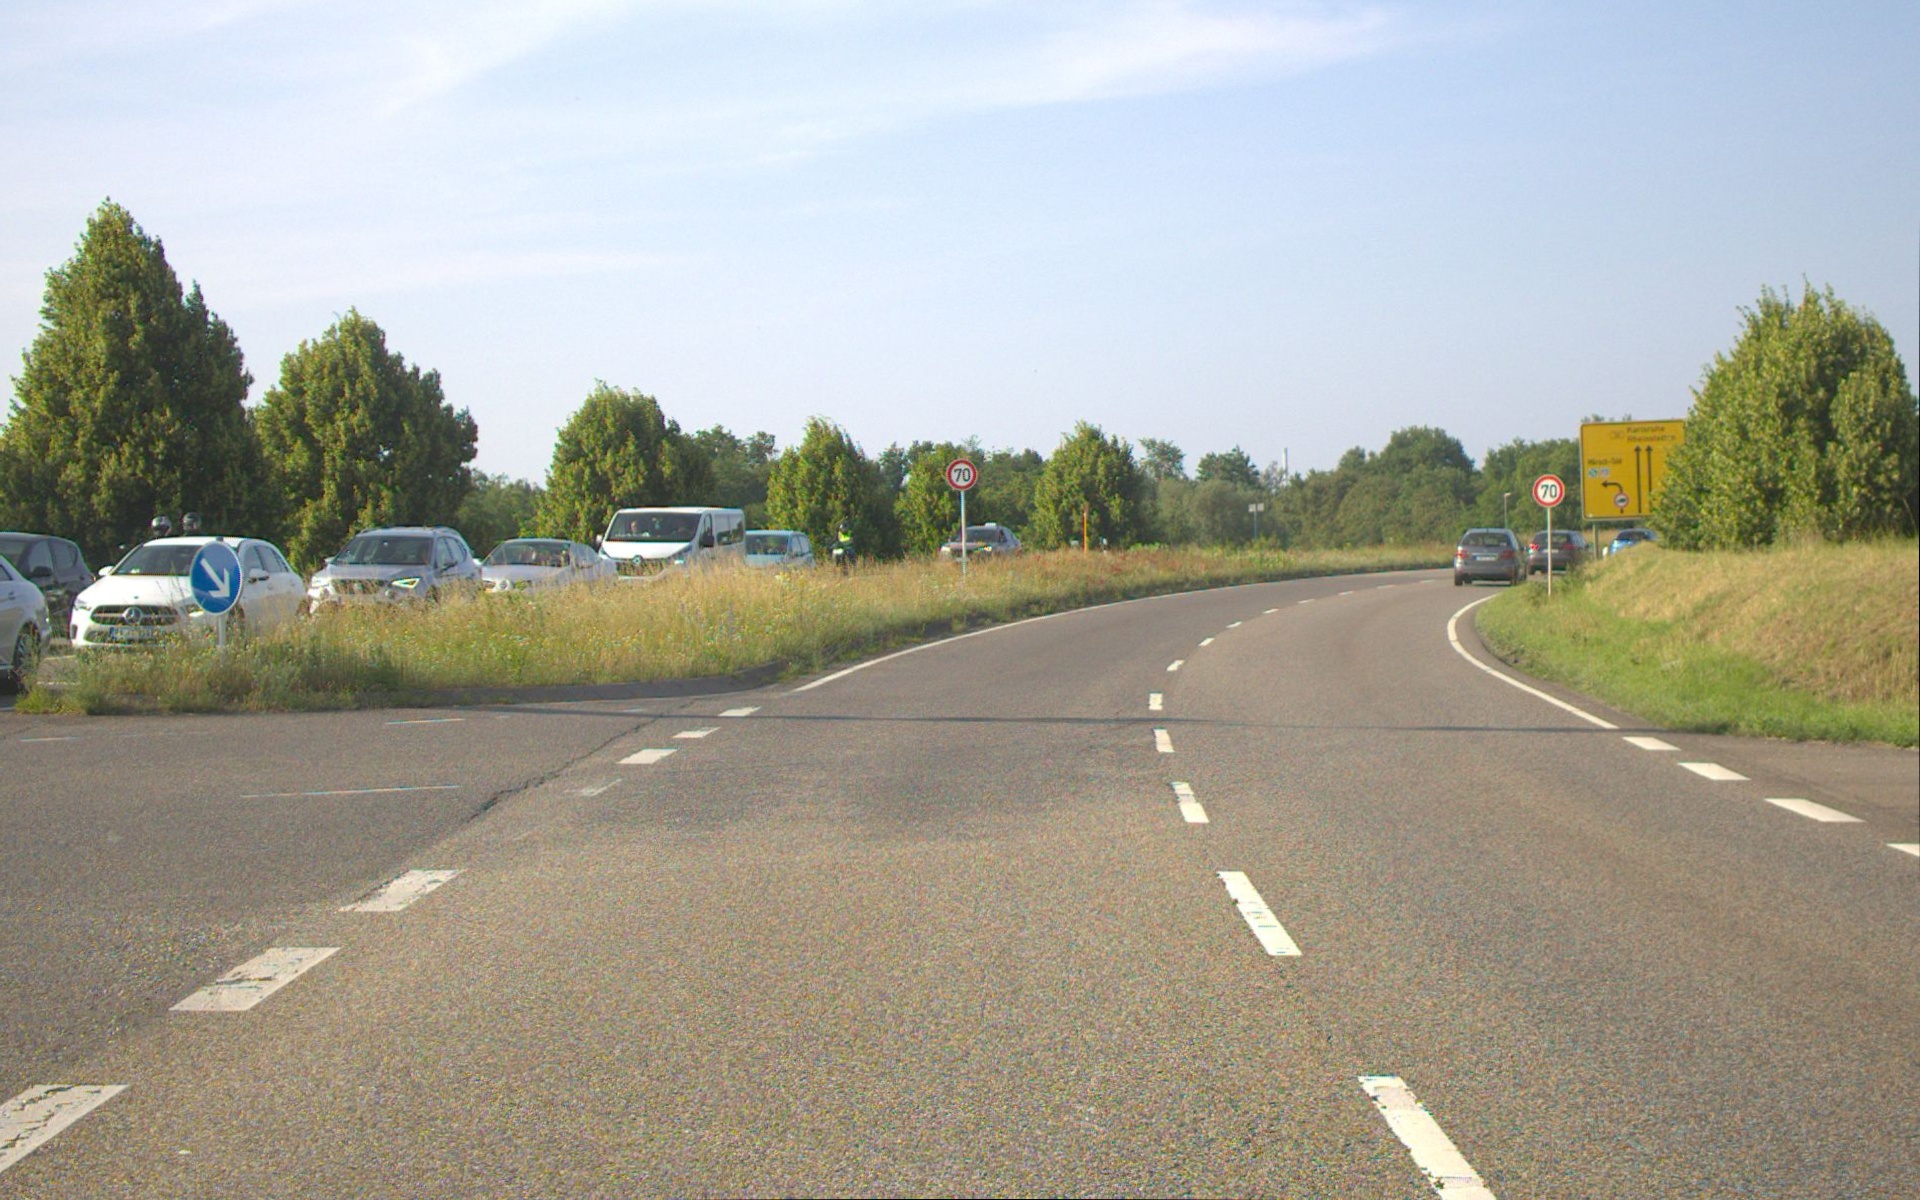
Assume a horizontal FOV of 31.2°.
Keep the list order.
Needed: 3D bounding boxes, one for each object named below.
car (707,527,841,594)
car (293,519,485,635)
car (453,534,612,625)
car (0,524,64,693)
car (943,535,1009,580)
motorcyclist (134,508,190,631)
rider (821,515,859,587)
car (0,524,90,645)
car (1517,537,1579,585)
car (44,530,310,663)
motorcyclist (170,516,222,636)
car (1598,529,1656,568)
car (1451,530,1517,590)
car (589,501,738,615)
[{"bbox_3d":[-3.946,-0.857,73.701,1.787,1.381,4.049,0,1,13],"label":"car"},{"bbox_3d":[-8.055,-0.347,48.825,1.786,1.563,4.051,-1,1,4],"label":"car"},{"bbox_3d":[-6.828,-0.352,55.324,1.786,1.381,4.051,-1,1,4],"label":"car"},{"bbox_3d":[-9.377,0.097,29.649,1.786,1.483,4.651,-1,1,4],"label":"car"},{"bbox_3d":[0.513,-1.354,108.811,1.406,1.397,3.420,0,1,12],"label":"car"},{"bbox_3d":[-11.389,-0.434,49.074,0.662,1.741,0.605,-1,1,-3],"label":"motorcyclist"},{"bbox_3d":[-3.406,-1.386,97.328,0.868,2.007,0.771,0,1,15],"label":"rider"},{"bbox_3d":[-12.164,-0.192,42.002,1.786,1.428,4.051,-1,1,4],"label":"car"},{"bbox_3d":[19.733,-1.304,115.259,1.811,1.560,4.528,0,1,12],"label":"car"},{"bbox_3d":[-8.885,-0.072,39.376,1.786,1.428,4.308,-1,1,4],"label":"car"},{"bbox_3d":[-11.651,-0.374,52.420,0.662,1.810,0.605,-1,1,-3],"label":"motorcyclist"},{"bbox_3d":[25.822,-2.010,133.044,1.774,1.487,3.982,0,1,17],"label":"car"},{"bbox_3d":[14.688,-1.099,96.551,1.785,1.600,4.194,0,0,8],"label":"car"},{"bbox_3d":[-5.571,-0.805,65.062,1.926,2.071,4.242,-1,1,7],"label":"car"}]
